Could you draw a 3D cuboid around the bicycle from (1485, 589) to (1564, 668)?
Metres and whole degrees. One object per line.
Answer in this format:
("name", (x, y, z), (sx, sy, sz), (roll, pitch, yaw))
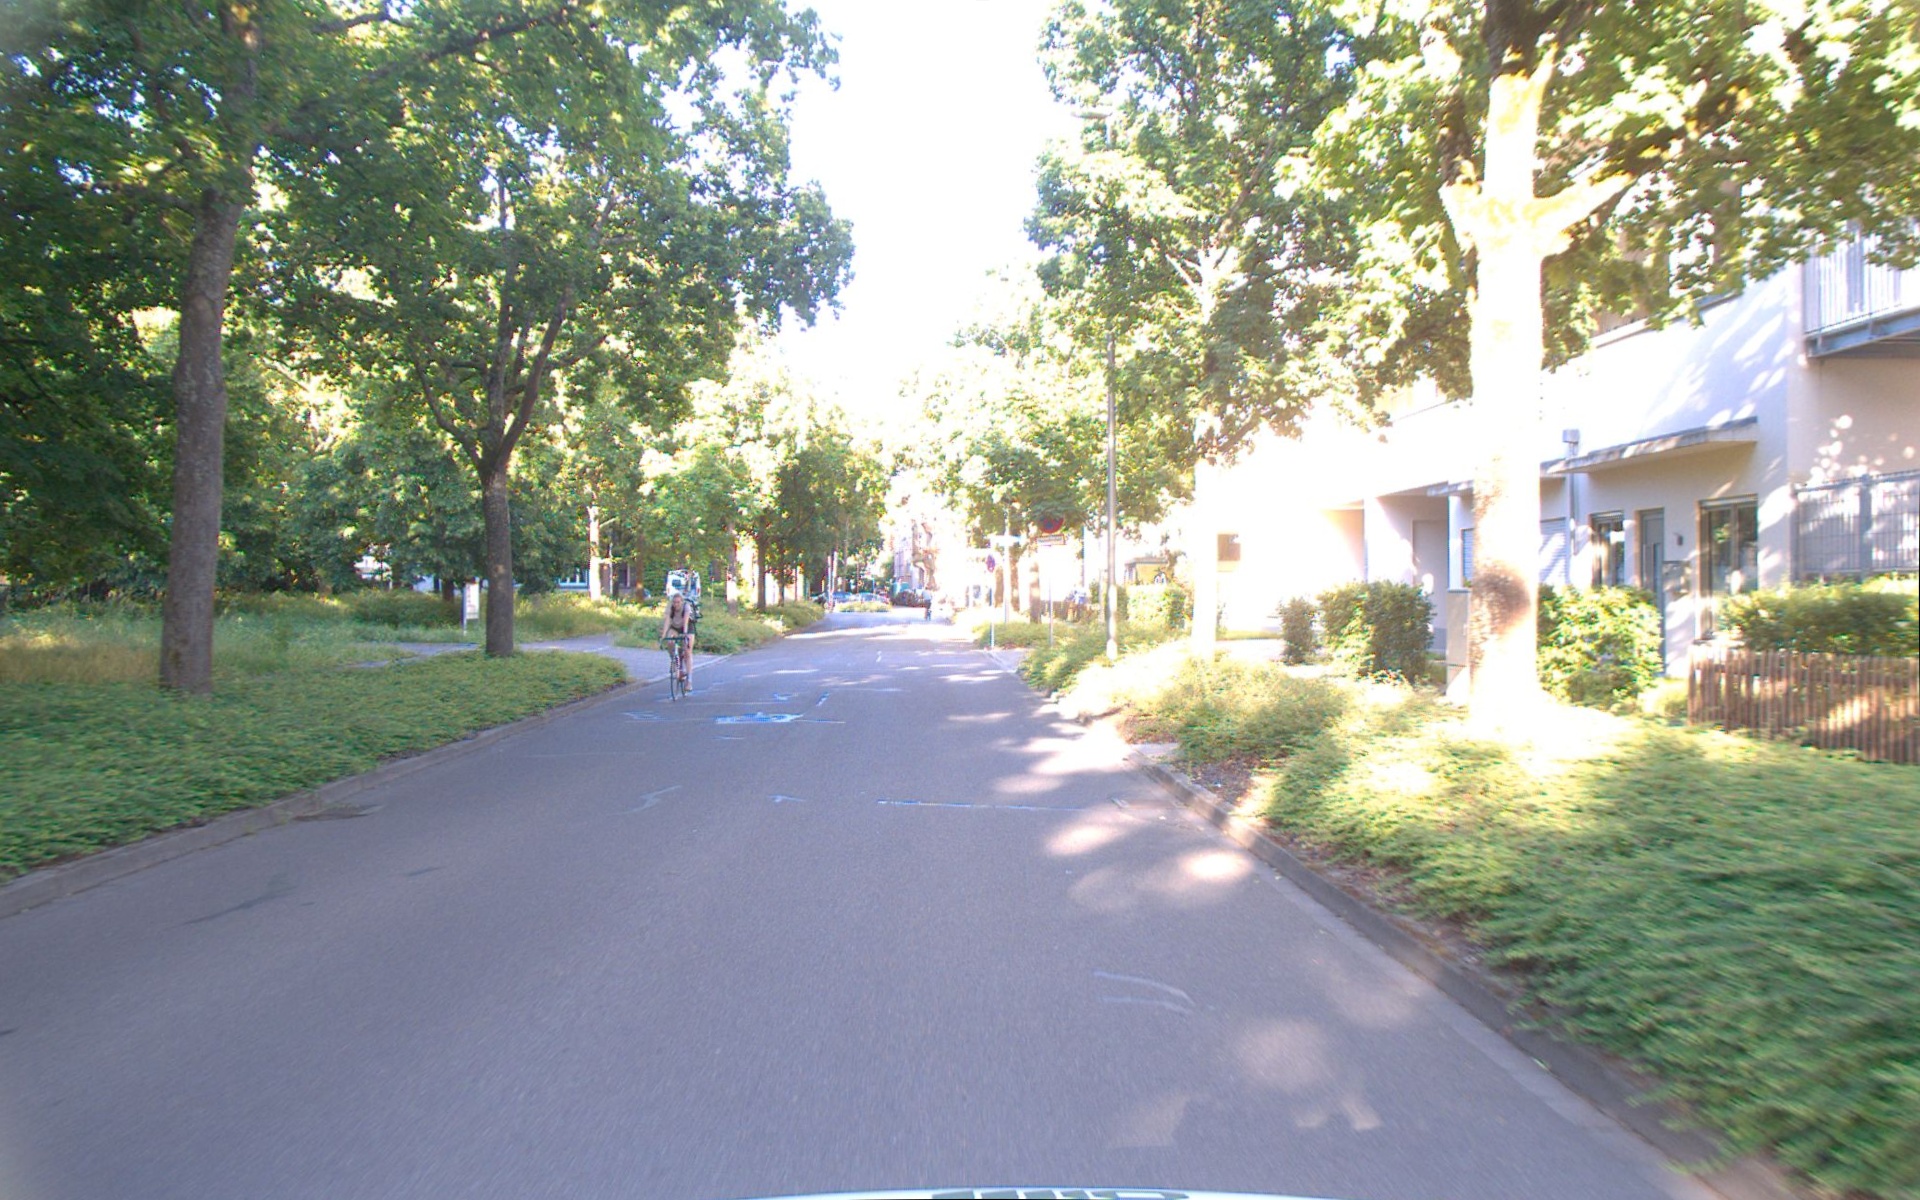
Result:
("bicycle", (8.988, 0.446, 26.410), (0.605, 1.212, 1.753), (1, 0, -2))

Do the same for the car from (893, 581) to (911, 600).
("car", (-6.258, -1.026, 178.172), (1.776, 2.086, 3.996), (1, 0, -5))

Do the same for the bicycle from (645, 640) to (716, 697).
("bicycle", (-4.291, 1.043, 25.532), (0.625, 0.755, 2.126), (-2, 0, 2))

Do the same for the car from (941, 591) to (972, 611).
("car", (-0.268, 0.057, 124.765), (1.778, 1.527, 3.992), (-1, 0, -9))

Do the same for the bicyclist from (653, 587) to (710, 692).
("bicyclist", (-4.297, 0.594, 25.563), (0.620, 1.582, 1.003), (-2, 0, 2))

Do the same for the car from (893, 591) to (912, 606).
("car", (-5.856, -0.148, 167.972), (1.776, 1.527, 3.996), (1, 0, -5))

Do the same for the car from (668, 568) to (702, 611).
("car", (-16.777, -0.650, 100.769), (1.957, 2.552, 3.990), (1, 0, -10))

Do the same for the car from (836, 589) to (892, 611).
("car", (-7.126, 0.005, 122.329), (3.914, 1.527, 1.813), (1, 0, -10))

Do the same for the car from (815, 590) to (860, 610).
("car", (-9.958, -0.014, 134.654), (3.522, 1.537, 1.497), (1, 0, -10))

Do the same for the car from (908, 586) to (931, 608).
("car", (-3.776, -0.313, 153.364), (1.776, 1.959, 3.996), (1, 0, -5))

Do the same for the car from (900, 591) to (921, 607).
("car", (-4.830, -0.131, 161.469), (1.776, 1.527, 3.996), (1, 0, -5))
